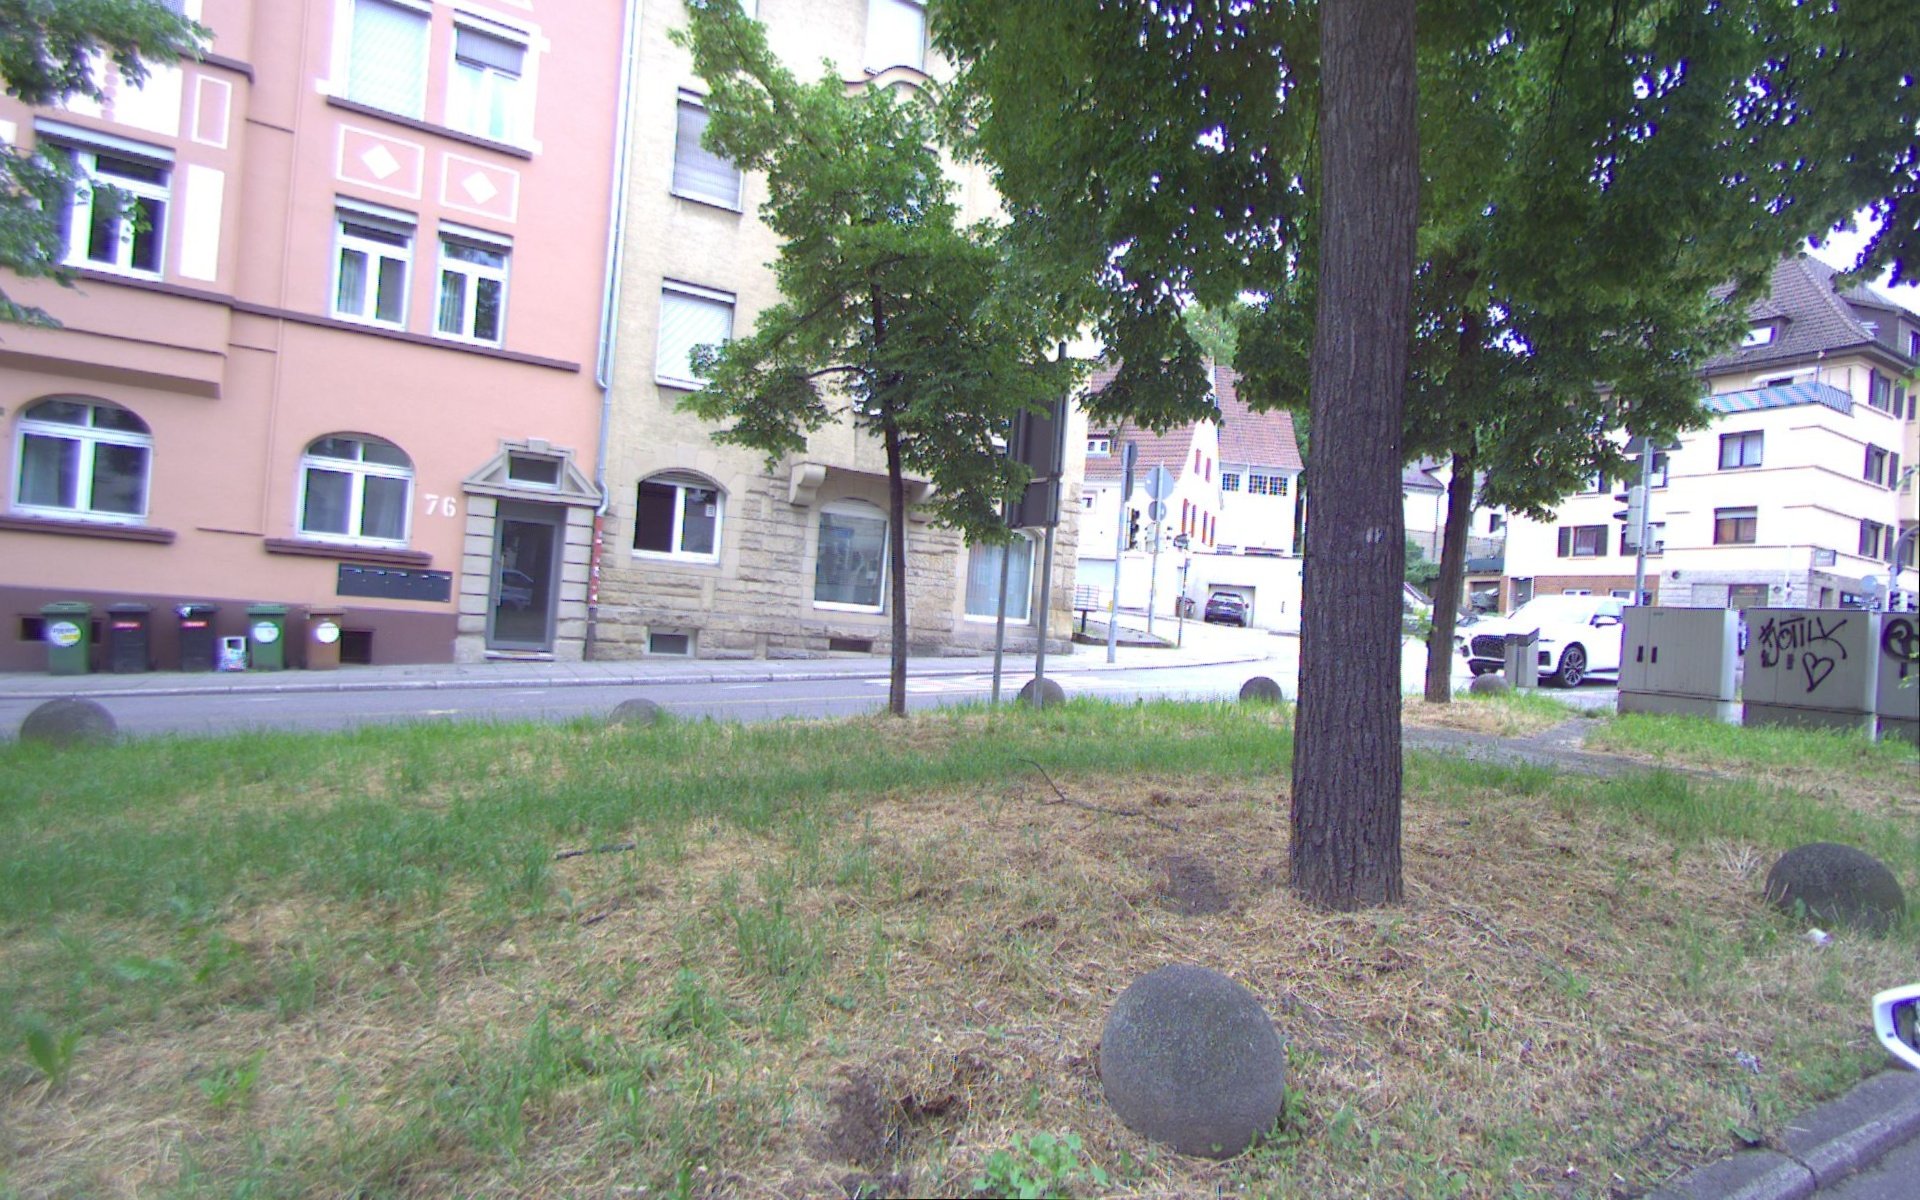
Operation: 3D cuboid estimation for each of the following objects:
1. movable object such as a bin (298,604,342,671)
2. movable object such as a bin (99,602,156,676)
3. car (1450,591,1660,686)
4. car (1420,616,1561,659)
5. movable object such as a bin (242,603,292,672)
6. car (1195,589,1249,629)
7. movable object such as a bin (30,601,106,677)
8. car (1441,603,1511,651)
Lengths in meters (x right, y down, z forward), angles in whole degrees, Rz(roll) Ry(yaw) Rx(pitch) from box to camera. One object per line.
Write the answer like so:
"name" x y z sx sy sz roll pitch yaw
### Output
"movable object such as a bin" -9.288 0.538 14.569 0.510 0.934 0.752 2 0 -34
"movable object such as a bin" -11.164 0.512 13.482 0.527 0.958 0.576 2 0 -36
"car" 11.594 0.666 19.477 4.446 1.650 1.882 0 1 -36
"car" 18.100 1.254 34.467 4.053 1.296 1.648 2 0 19
"movable object such as a bin" -9.814 0.521 14.246 0.554 0.934 0.649 2 0 -34
"car" 11.658 0.367 44.842 1.639 1.424 3.057 7 3 3
"movable object such as a bin" -11.660 0.506 13.149 0.611 0.961 0.613 2 0 -31
"car" 22.244 1.113 43.438 1.832 1.619 3.519 2 6 13
